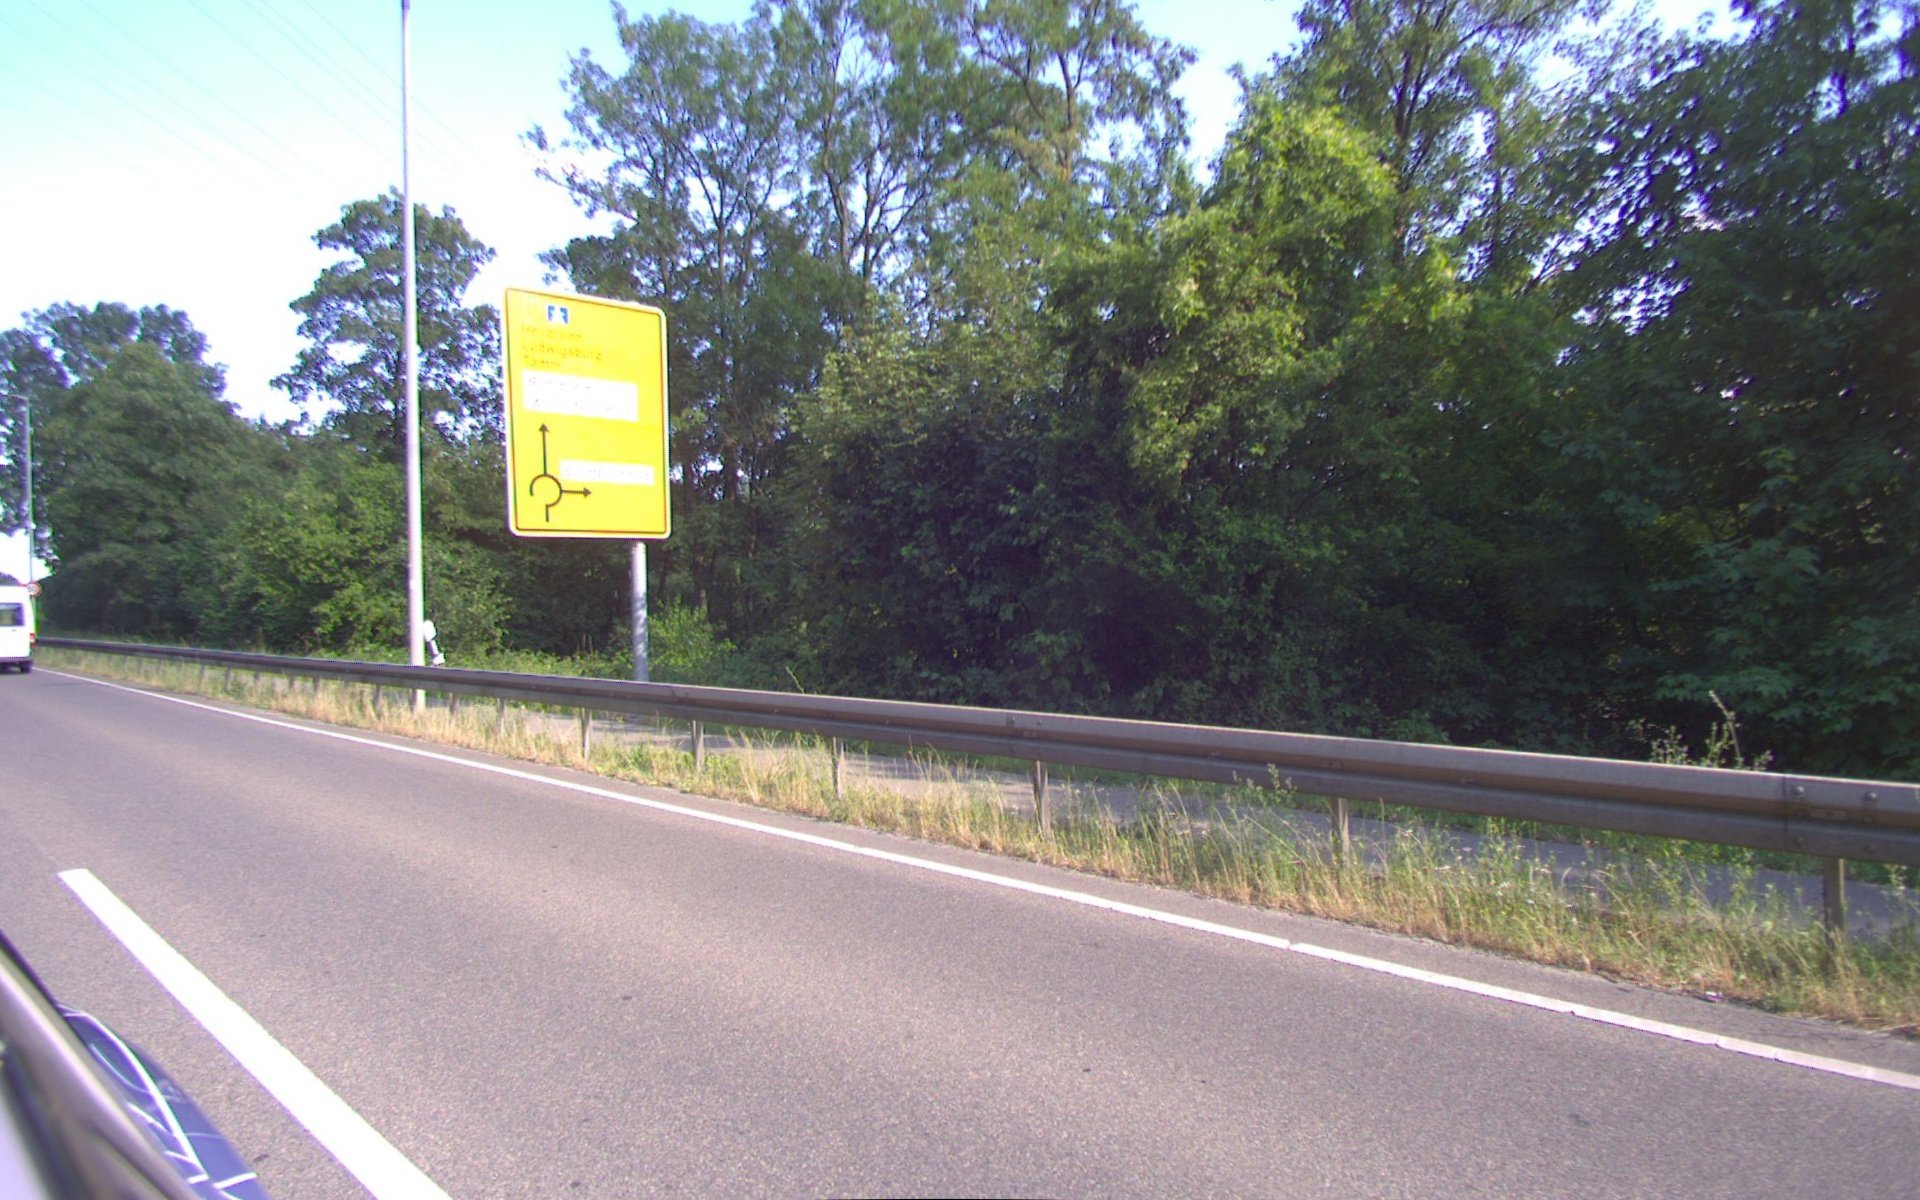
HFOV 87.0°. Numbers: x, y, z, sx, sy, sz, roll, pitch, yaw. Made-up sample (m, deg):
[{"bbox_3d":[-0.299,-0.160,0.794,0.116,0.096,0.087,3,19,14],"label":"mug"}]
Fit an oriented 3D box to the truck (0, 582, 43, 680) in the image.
[{"bbox_3d":[-25.981,0.810,26.726,5.871,2.403,2.036,-1,-1,42],"label":"truck"}]
